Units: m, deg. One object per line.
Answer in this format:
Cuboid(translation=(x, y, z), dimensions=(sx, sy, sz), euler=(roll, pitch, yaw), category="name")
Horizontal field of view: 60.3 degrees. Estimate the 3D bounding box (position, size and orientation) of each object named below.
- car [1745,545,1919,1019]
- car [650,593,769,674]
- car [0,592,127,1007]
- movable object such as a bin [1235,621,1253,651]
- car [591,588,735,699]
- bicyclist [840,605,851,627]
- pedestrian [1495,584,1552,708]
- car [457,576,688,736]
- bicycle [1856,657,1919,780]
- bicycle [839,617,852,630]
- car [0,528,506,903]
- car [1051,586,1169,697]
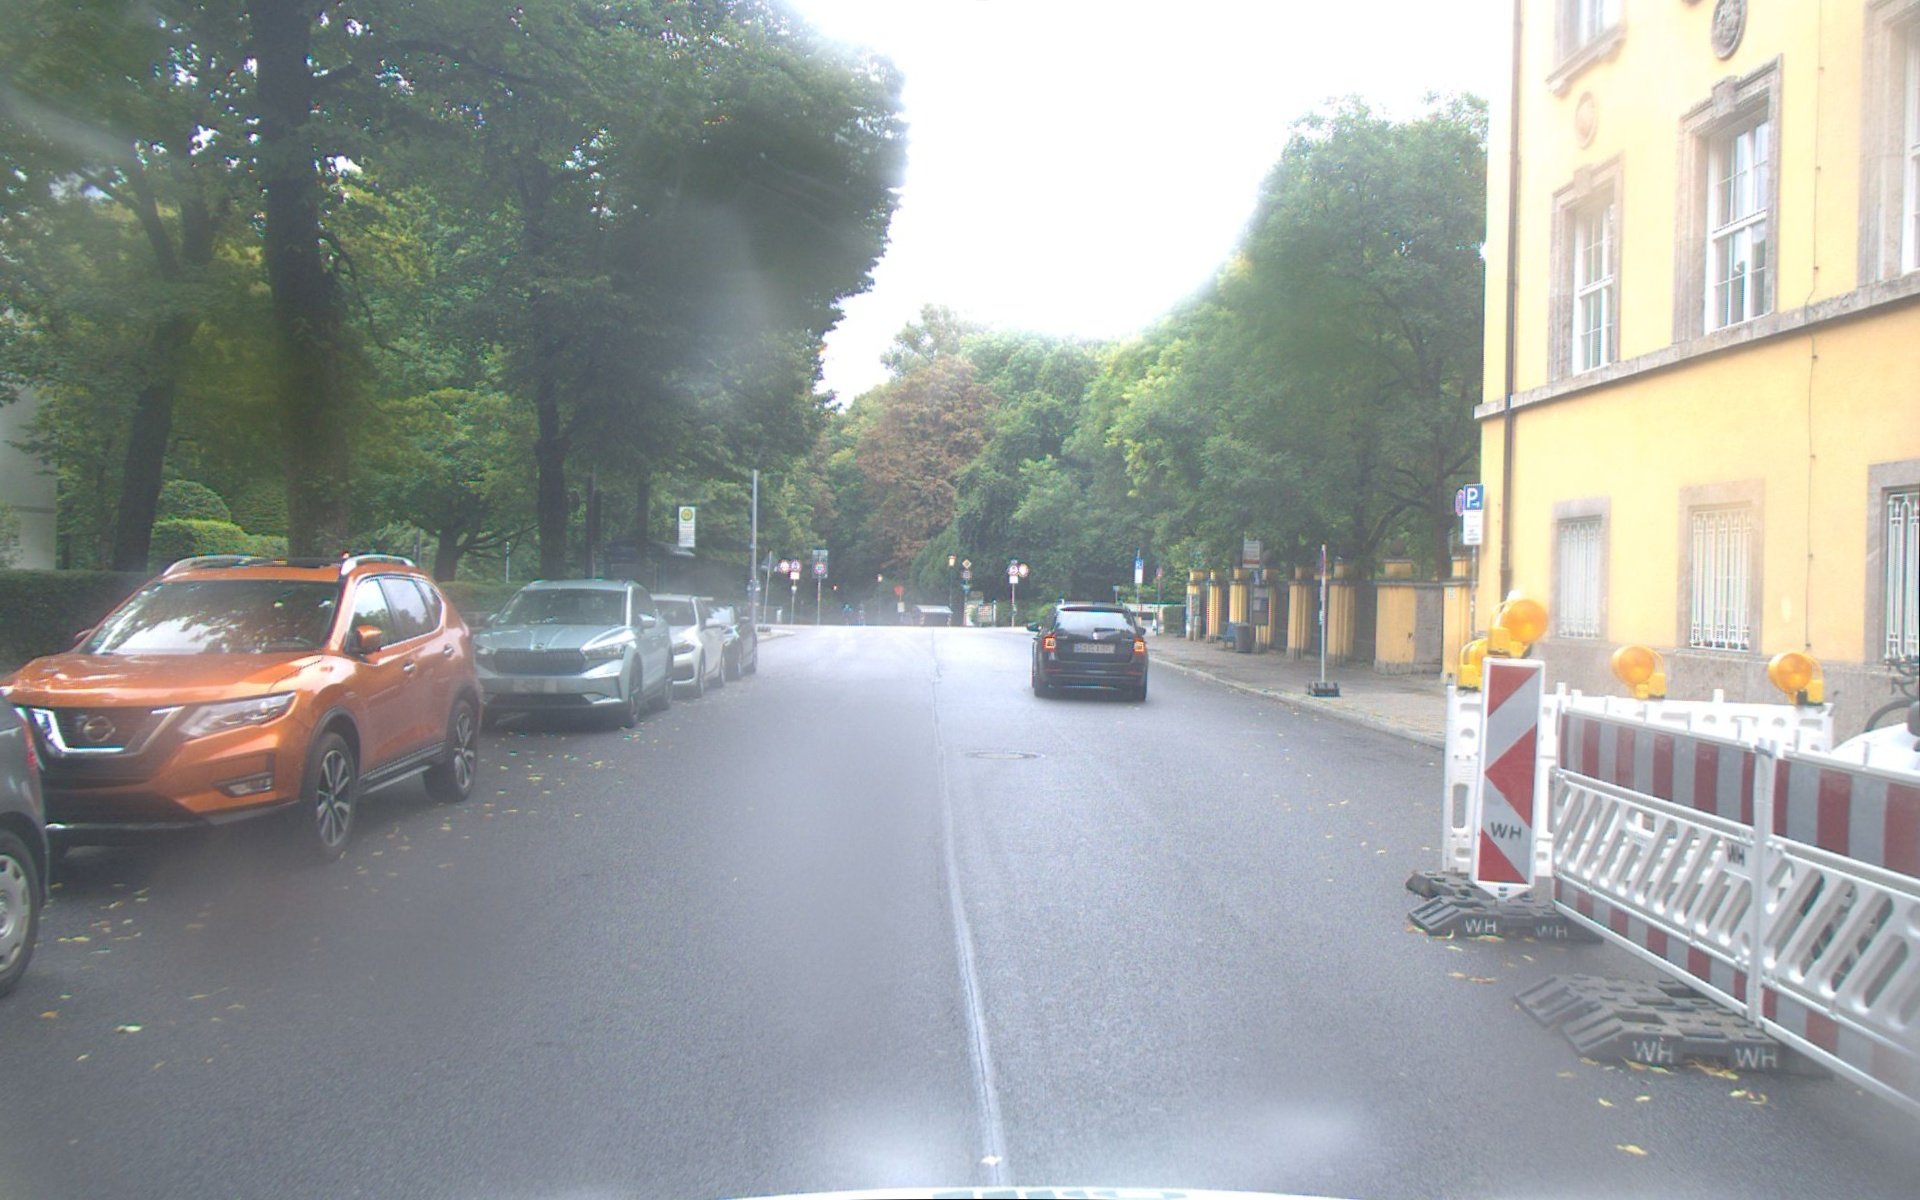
Cuboid(translation=(4.518, 0.686, 5.343), dimensions=(1.705, 1.780, 4.353), euler=(1, -1, -3), category="car")
Cuboid(translation=(-4.514, 0.581, 30.324), dimensions=(1.545, 1.366, 4.044), euler=(1, 0, 0), category="car")
Cuboid(translation=(-4.143, 0.700, 4.567), dimensions=(1.693, 1.447, 4.249), euler=(1, 0, -3), category="car")
Cuboid(translation=(7.754, 0.980, 45.156), dimensions=(0.388, 0.794, 0.465), euler=(1, 0, 1), category="movable object such as a bin")
Cuboid(translation=(-4.398, 0.602, 25.010), dimensions=(1.546, 1.523, 4.197), euler=(1, 0, -2), category="car")
Cuboid(translation=(-8.089, 1.102, 116.788), dimensions=(0.668, 1.530, 0.899), euler=(1, 0, -11), category="bicyclist")
Cuboid(translation=(7.719, 0.623, 22.685), dimensions=(0.549, 1.666, 0.571), euler=(-1, 0, -3), category="pedestrian")
Cuboid(translation=(-4.372, 0.584, 19.340), dimensions=(1.779, 1.629, 4.511), euler=(1, 0, -2), category="car")
Cuboid(translation=(8.622, 1.042, 14.217), dimensions=(0.666, 1.024, 2.056), euler=(1, 0, -2), category="bicycle")
Cuboid(translation=(-8.072, 1.649, 116.682), dimensions=(0.667, 0.844, 2.104), euler=(1, -1, -11), category="bicycle")
Cuboid(translation=(-4.315, 0.543, 10.135), dimensions=(1.834, 1.758, 4.640), euler=(1, 0, -1), category="car")
Cuboid(translation=(2.309, 0.611, 26.258), dimensions=(1.545, 1.611, 4.044), euler=(1, 0, 1), category="car")
